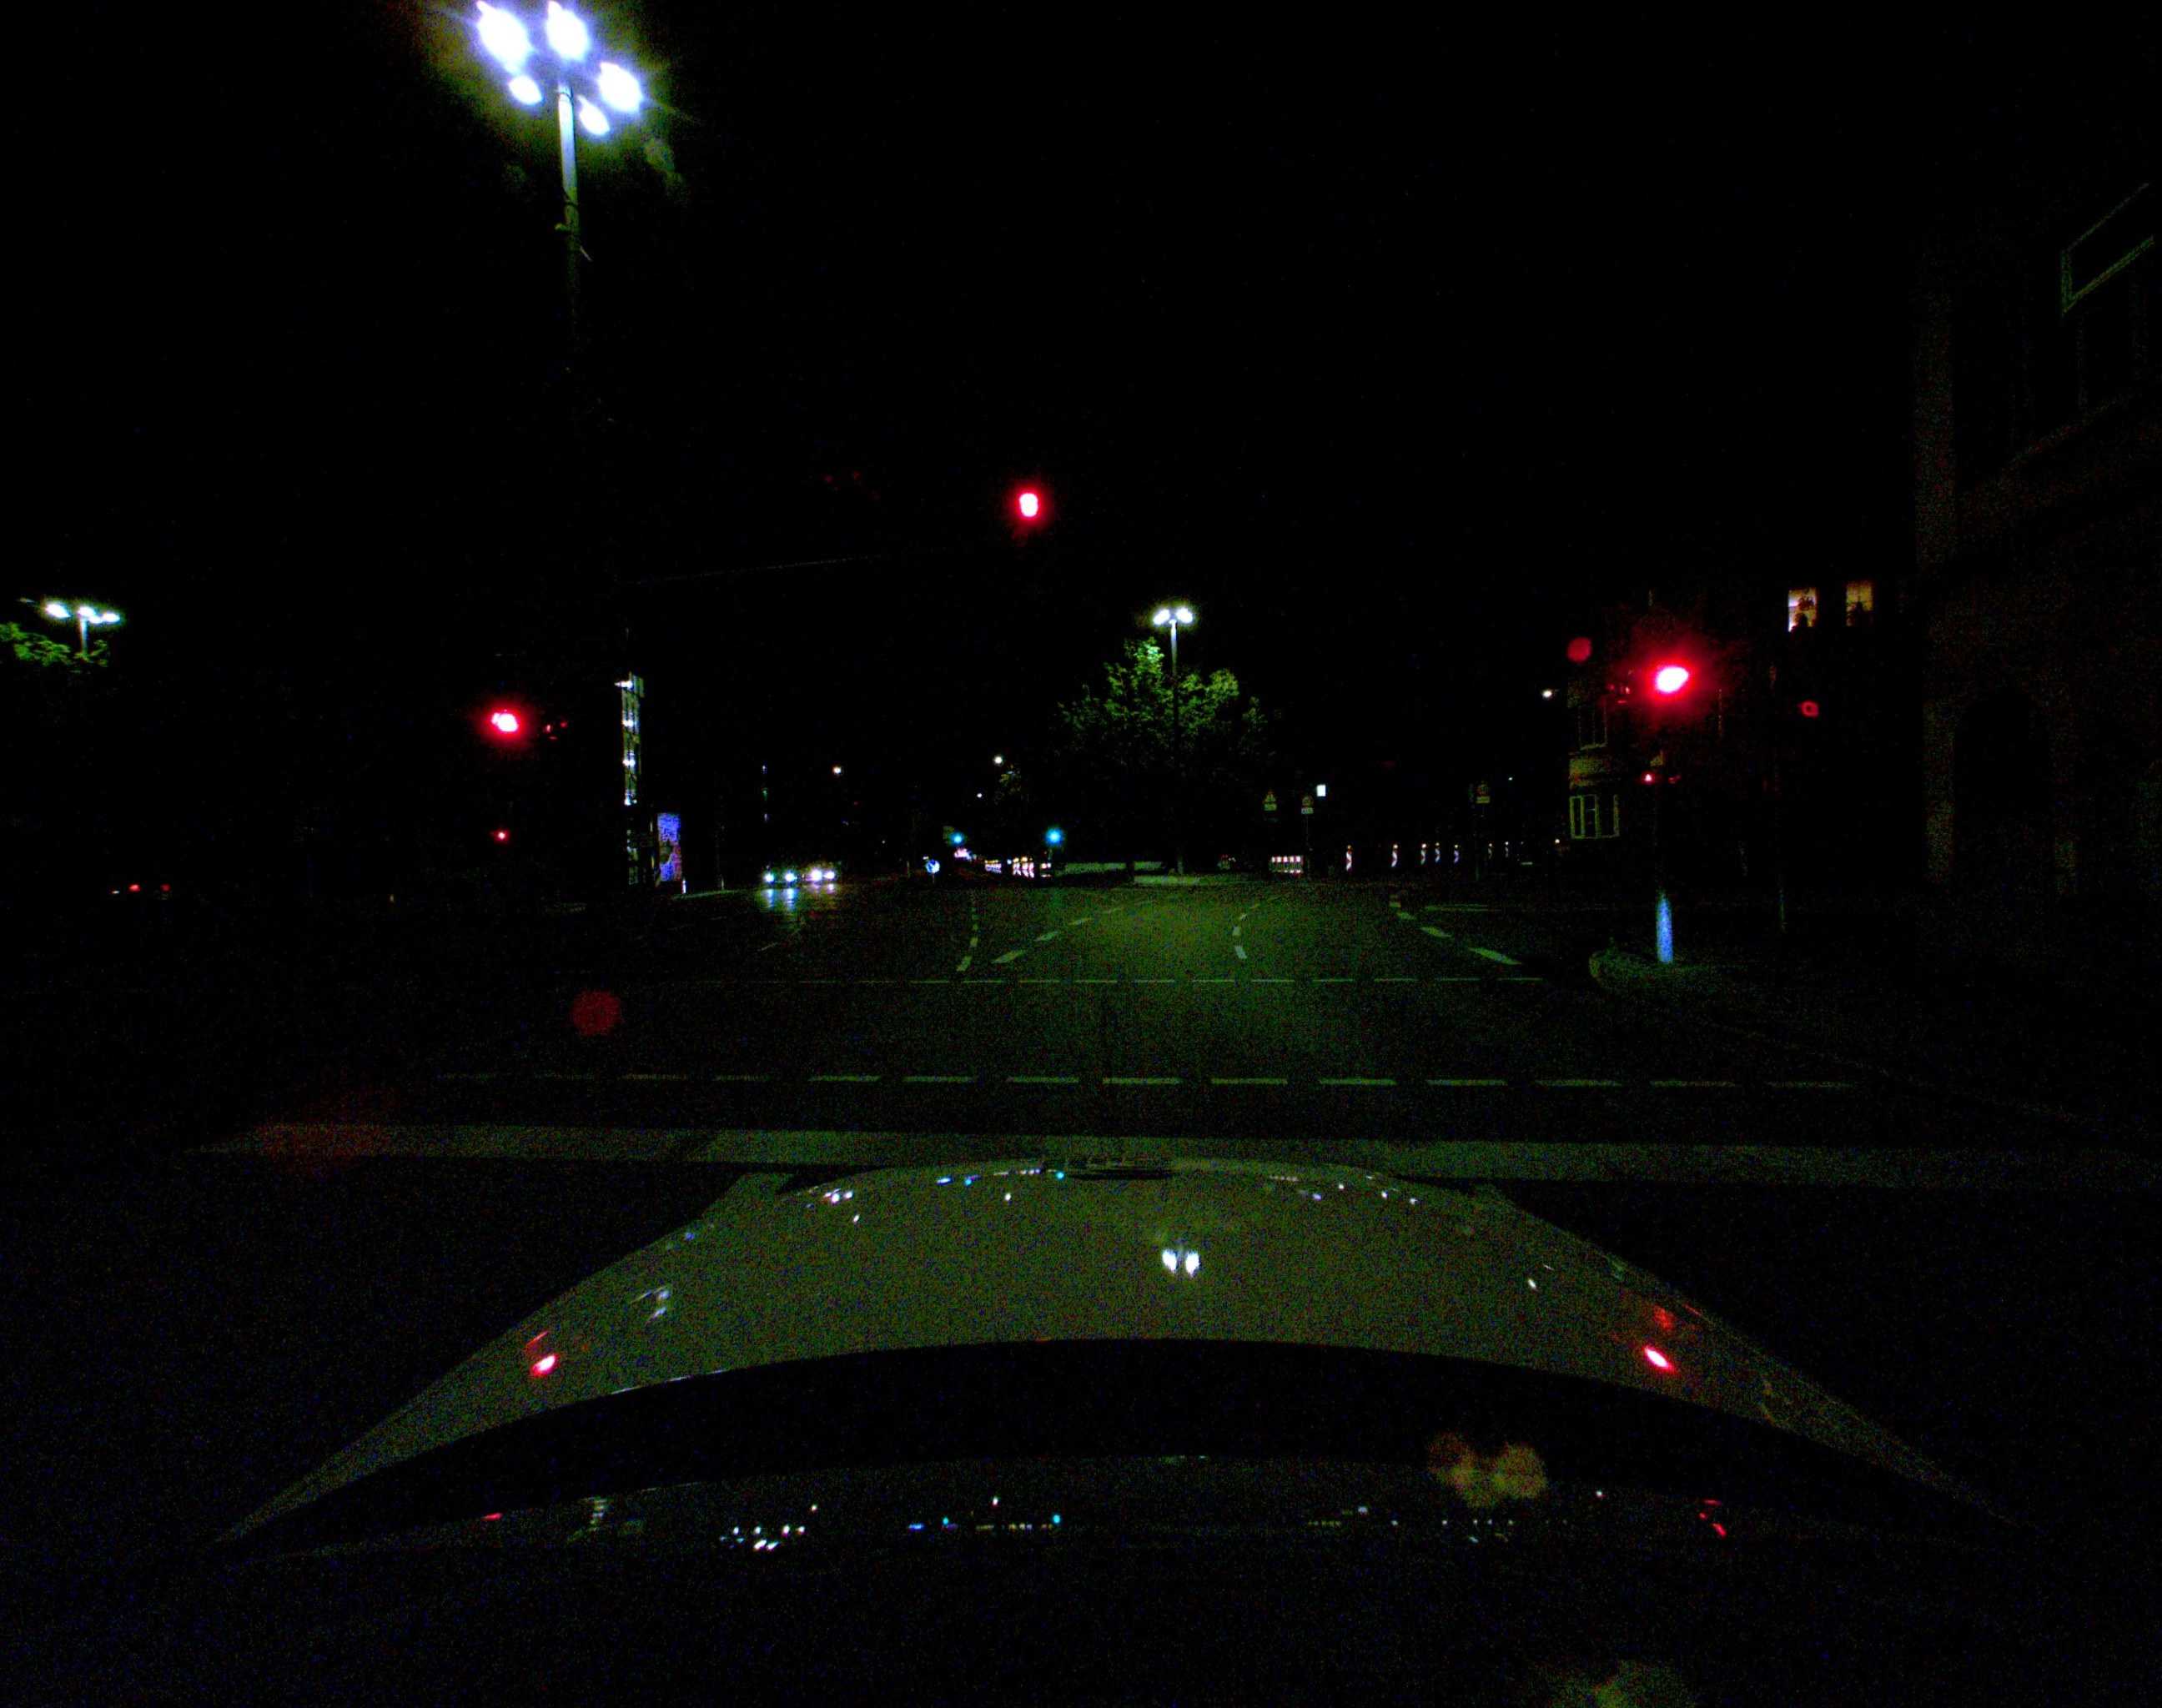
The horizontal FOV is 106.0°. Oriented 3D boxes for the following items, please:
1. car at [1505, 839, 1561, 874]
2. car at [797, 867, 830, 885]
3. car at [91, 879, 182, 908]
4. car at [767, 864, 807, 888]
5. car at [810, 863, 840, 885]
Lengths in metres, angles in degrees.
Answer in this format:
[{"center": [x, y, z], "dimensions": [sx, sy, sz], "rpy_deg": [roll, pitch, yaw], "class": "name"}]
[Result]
[{"center": [22.587, 0.114, 40.643], "dimensions": [1.711, 1.612, 3.646], "rpy_deg": [-2, -1, 41], "class": "car"}, {"center": [-20.442, 1.680, 62.292], "dimensions": [1.756, 1.322, 3.538], "rpy_deg": [-2, -1, -7], "class": "car"}, {"center": [-52.597, 2.198, 45.360], "dimensions": [3.957, 1.491, 1.716], "rpy_deg": [-2, -1, 15], "class": "car"}, {"center": [-19.833, 1.452, 55.039], "dimensions": [1.614, 1.515, 3.990], "rpy_deg": [-2, -1, -7], "class": "car"}, {"center": [-21.452, 1.672, 68.445], "dimensions": [1.756, 1.728, 3.538], "rpy_deg": [-2, -1, -7], "class": "car"}]
